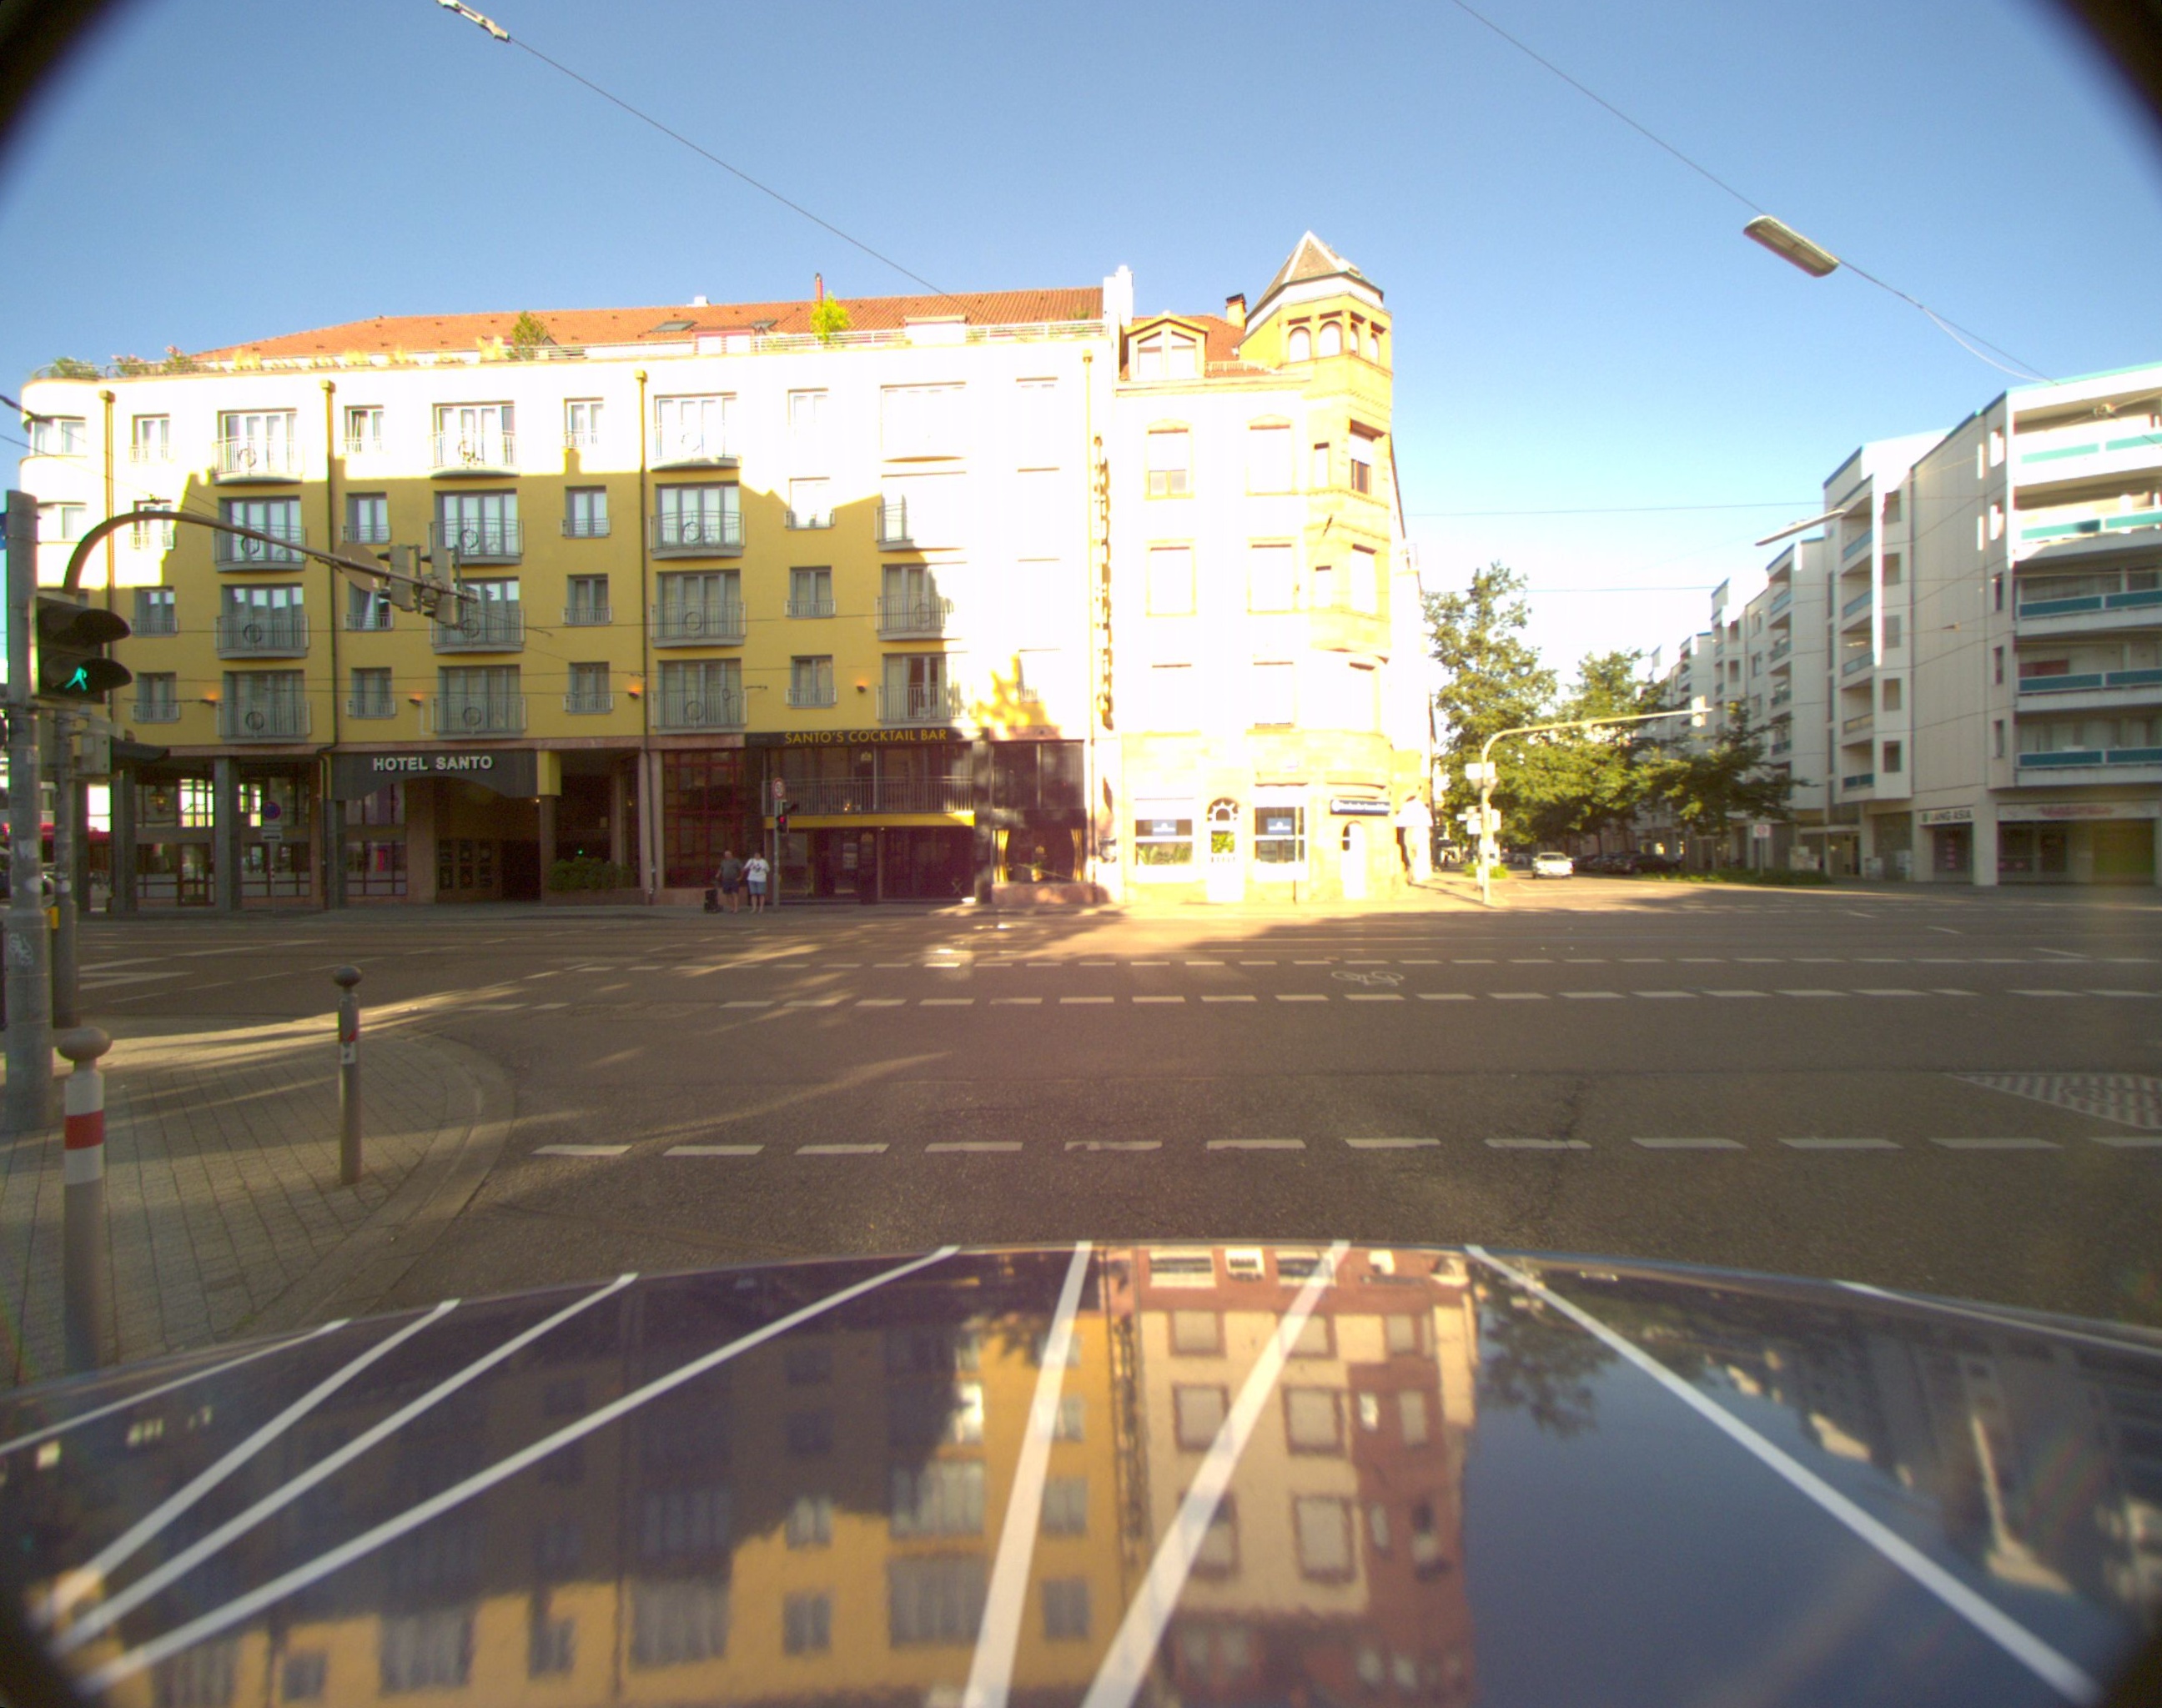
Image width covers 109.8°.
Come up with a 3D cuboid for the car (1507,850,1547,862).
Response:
[{"bbox_3d":[59.412,0.220,101.256,4.295,1.576,2.003,-1,0,20],"label":"car"}]

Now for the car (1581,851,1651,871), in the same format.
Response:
[{"bbox_3d":[43.744,0.546,62.185,4.295,1.576,2.003,-1,0,18],"label":"car"}]

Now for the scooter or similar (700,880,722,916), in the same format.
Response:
[{"bbox_3d":[-10.536,1.250,21.655,0.357,0.972,0.423,-1,4,1],"label":"scooter or similar"}]

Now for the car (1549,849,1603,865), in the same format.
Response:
[{"bbox_3d":[50.439,0.306,77.476,4.295,1.576,2.003,-1,0,20],"label":"car"}]

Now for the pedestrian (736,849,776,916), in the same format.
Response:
[{"bbox_3d":[-9.238,0.791,21.623,0.734,1.831,0.726,-1,4,3],"label":"pedestrian"}]

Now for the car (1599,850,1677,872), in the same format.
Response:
[{"bbox_3d":[42.055,0.513,57.474,4.295,1.576,2.003,-1,0,18],"label":"car"}]

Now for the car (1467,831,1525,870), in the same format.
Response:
[{"bbox_3d":[35.751,-0.297,65.778,3.318,3.160,8.095,0,0,21],"label":"car"}]

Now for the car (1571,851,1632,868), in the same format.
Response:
[{"bbox_3d":[48.214,0.504,70.505,4.295,1.576,2.003,-1,0,20],"label":"car"}]

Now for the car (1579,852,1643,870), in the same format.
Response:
[{"bbox_3d":[46.992,0.596,67.449,4.295,1.576,2.003,-1,0,20],"label":"car"}]

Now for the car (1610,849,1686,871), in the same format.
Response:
[{"bbox_3d":[41.106,0.428,55.212,3.991,1.576,2.003,-1,0,18],"label":"car"}]

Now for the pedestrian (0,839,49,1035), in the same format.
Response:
[{"bbox_3d":[-9.754,0.713,6.216,1.175,1.670,1.006,-1,0,-21],"label":"pedestrian"}]

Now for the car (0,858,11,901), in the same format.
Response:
[{"bbox_3d":[-46.717,1.086,29.953,2.057,1.826,4.821,-1,0,5],"label":"car"}]

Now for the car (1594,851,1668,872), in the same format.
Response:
[{"bbox_3d":[43.217,0.610,59.798,4.295,1.576,2.003,-1,0,18],"label":"car"}]

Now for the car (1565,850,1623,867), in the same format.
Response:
[{"bbox_3d":[49.055,0.438,72.770,4.295,1.576,2.003,-1,0,20],"label":"car"}]

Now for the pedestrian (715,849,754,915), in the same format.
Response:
[{"bbox_3d":[-9.982,0.804,21.901,0.678,1.831,0.726,-1,4,3],"label":"pedestrian"}]

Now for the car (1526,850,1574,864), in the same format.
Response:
[{"bbox_3d":[53.779,0.313,87.219,4.295,1.576,2.003,-1,0,20],"label":"car"}]

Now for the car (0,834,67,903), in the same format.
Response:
[{"bbox_3d":[-44.228,0.590,29.684,2.057,2.742,5.151,-1,0,5],"label":"car"}]

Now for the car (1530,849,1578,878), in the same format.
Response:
[{"bbox_3d":[29.315,0.552,47.205,1.995,1.739,4.007,-1,0,24],"label":"car"}]
